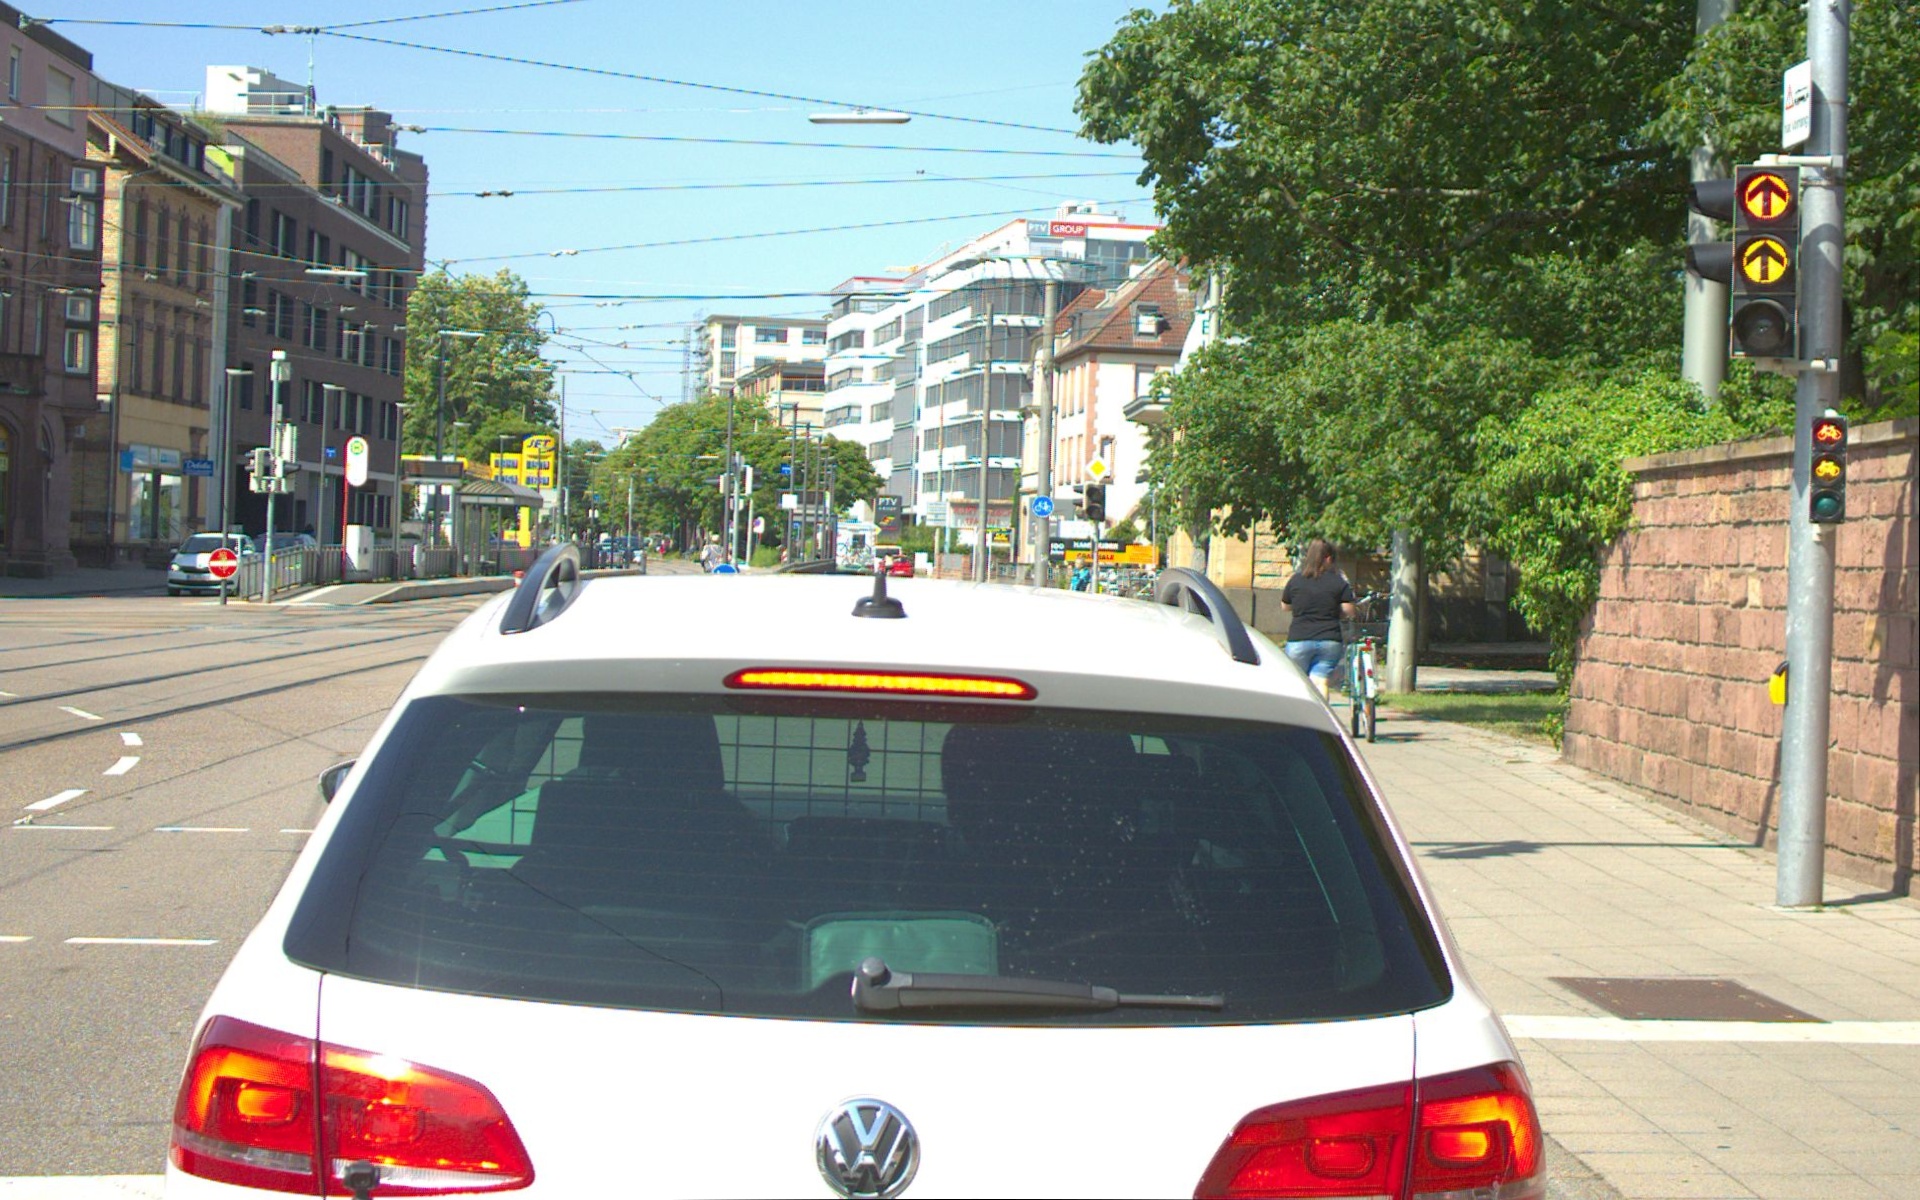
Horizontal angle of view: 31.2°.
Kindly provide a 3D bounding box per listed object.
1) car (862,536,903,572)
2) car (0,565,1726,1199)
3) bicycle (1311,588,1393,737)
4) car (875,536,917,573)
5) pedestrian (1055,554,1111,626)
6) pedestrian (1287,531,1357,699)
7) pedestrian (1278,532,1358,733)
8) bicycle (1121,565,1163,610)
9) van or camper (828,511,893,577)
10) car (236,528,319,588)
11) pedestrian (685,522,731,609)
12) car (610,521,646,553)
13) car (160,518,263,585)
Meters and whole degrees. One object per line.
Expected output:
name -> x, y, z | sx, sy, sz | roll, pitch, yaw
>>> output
car -> -4.479, -2.656, 197.813 | 1.993, 2.007, 4.001 | 2, 1, -5
car -> -0.151, 0.694, 5.380 | 1.752, 1.413, 3.853 | 2, 1, -1
bicycle -> 3.062, 0.467, 26.737 | 0.536, 1.107, 1.806 | 1, 0, 9
car -> -3.595, -2.553, 192.409 | 1.993, 2.007, 4.001 | 2, 1, -5
pedestrian -> 2.640, -0.214, 74.025 | 0.858, 1.505, 0.780 | 3, 1, 39
pedestrian -> 3.706, 0.148, 35.220 | 0.650, 1.676, 0.707 | 2, 1, 6
pedestrian -> 2.787, 0.247, 26.820 | 0.540, 1.543, 0.663 | 0, 1, -1
bicycle -> 4.783, -0.327, 90.262 | 0.726, 1.135, 2.193 | 2, 1, 12
van or camper -> -5.038, -2.817, 173.160 | 2.943, 3.169, 6.614 | 2, 1, -4
car -> -17.473, -1.094, 88.116 | 1.572, 1.454, 3.815 | 2, 1, -4
pedestrian -> -5.385, -0.740, 73.424 | 0.826, 1.803, 0.834 | 2, 1, -13
car -> -20.996, -3.976, 217.539 | 1.993, 2.007, 4.000 | 1, 1, -2
car -> -17.464, -1.125, 80.360 | 1.625, 1.426, 3.963 | 3, 1, -2
